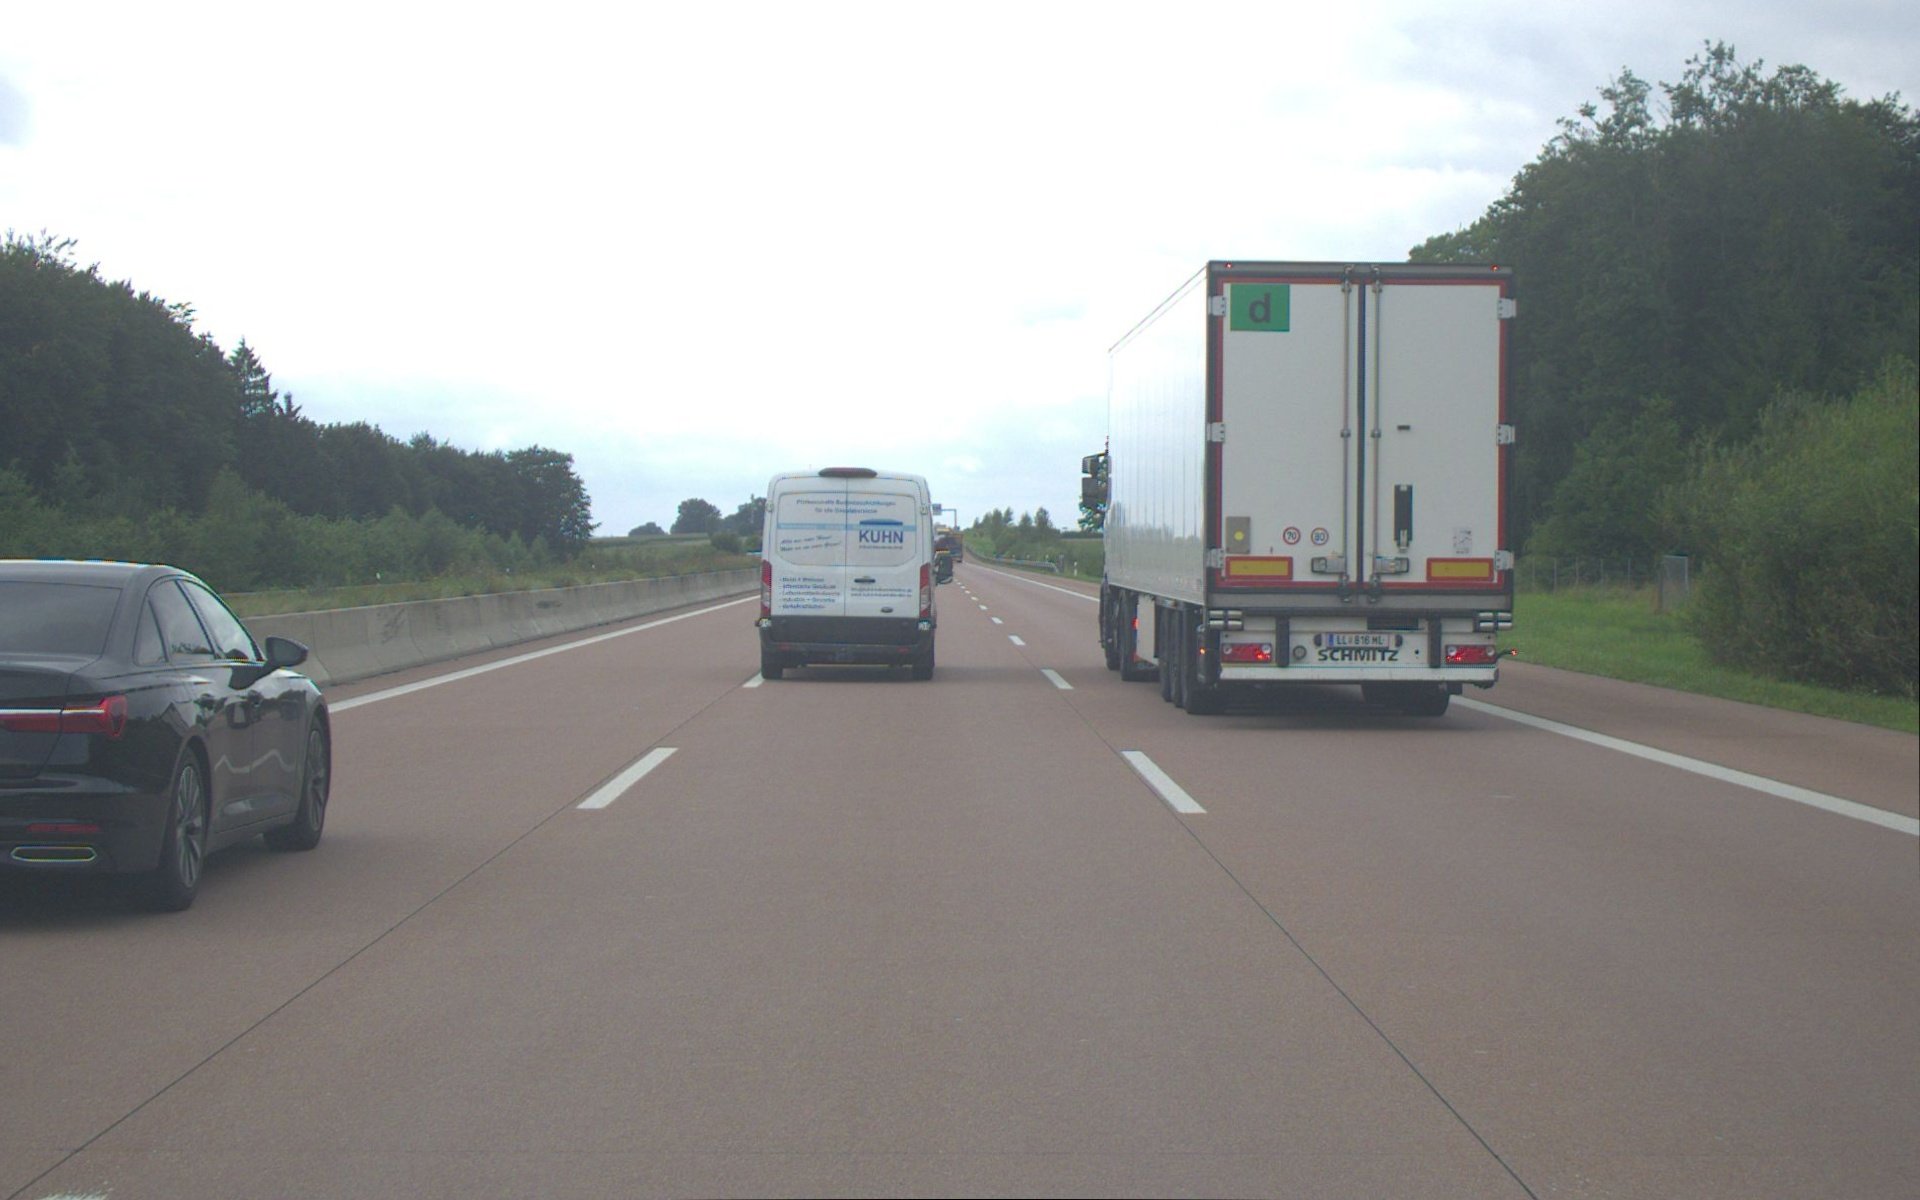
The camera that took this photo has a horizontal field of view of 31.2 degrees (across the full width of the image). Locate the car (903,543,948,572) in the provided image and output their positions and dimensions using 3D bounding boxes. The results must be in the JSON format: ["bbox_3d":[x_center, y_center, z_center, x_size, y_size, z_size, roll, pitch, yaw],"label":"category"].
[{"bbox_3d":[-1.803,-2.261,181.659,2.163,1.446,4.719,1,1,1],"label":"car"}]

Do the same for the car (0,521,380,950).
[{"bbox_3d":[-4.082,0.437,15.519,2.085,1.545,5.675,1,1,-1],"label":"car"}]

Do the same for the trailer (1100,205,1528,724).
[{"bbox_3d":[3.204,-1.227,35.239,2.921,4.279,13.614,0,1,0],"label":"trailer"}]

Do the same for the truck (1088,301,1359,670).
[{"bbox_3d":[3.167,-1.375,42.724,2.921,4.279,5.335,0,1,0],"label":"truck"}]

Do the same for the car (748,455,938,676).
[{"bbox_3d":[-1.347,-0.477,42.450,2.137,2.498,7.132,0,1,0],"label":"car"}]
